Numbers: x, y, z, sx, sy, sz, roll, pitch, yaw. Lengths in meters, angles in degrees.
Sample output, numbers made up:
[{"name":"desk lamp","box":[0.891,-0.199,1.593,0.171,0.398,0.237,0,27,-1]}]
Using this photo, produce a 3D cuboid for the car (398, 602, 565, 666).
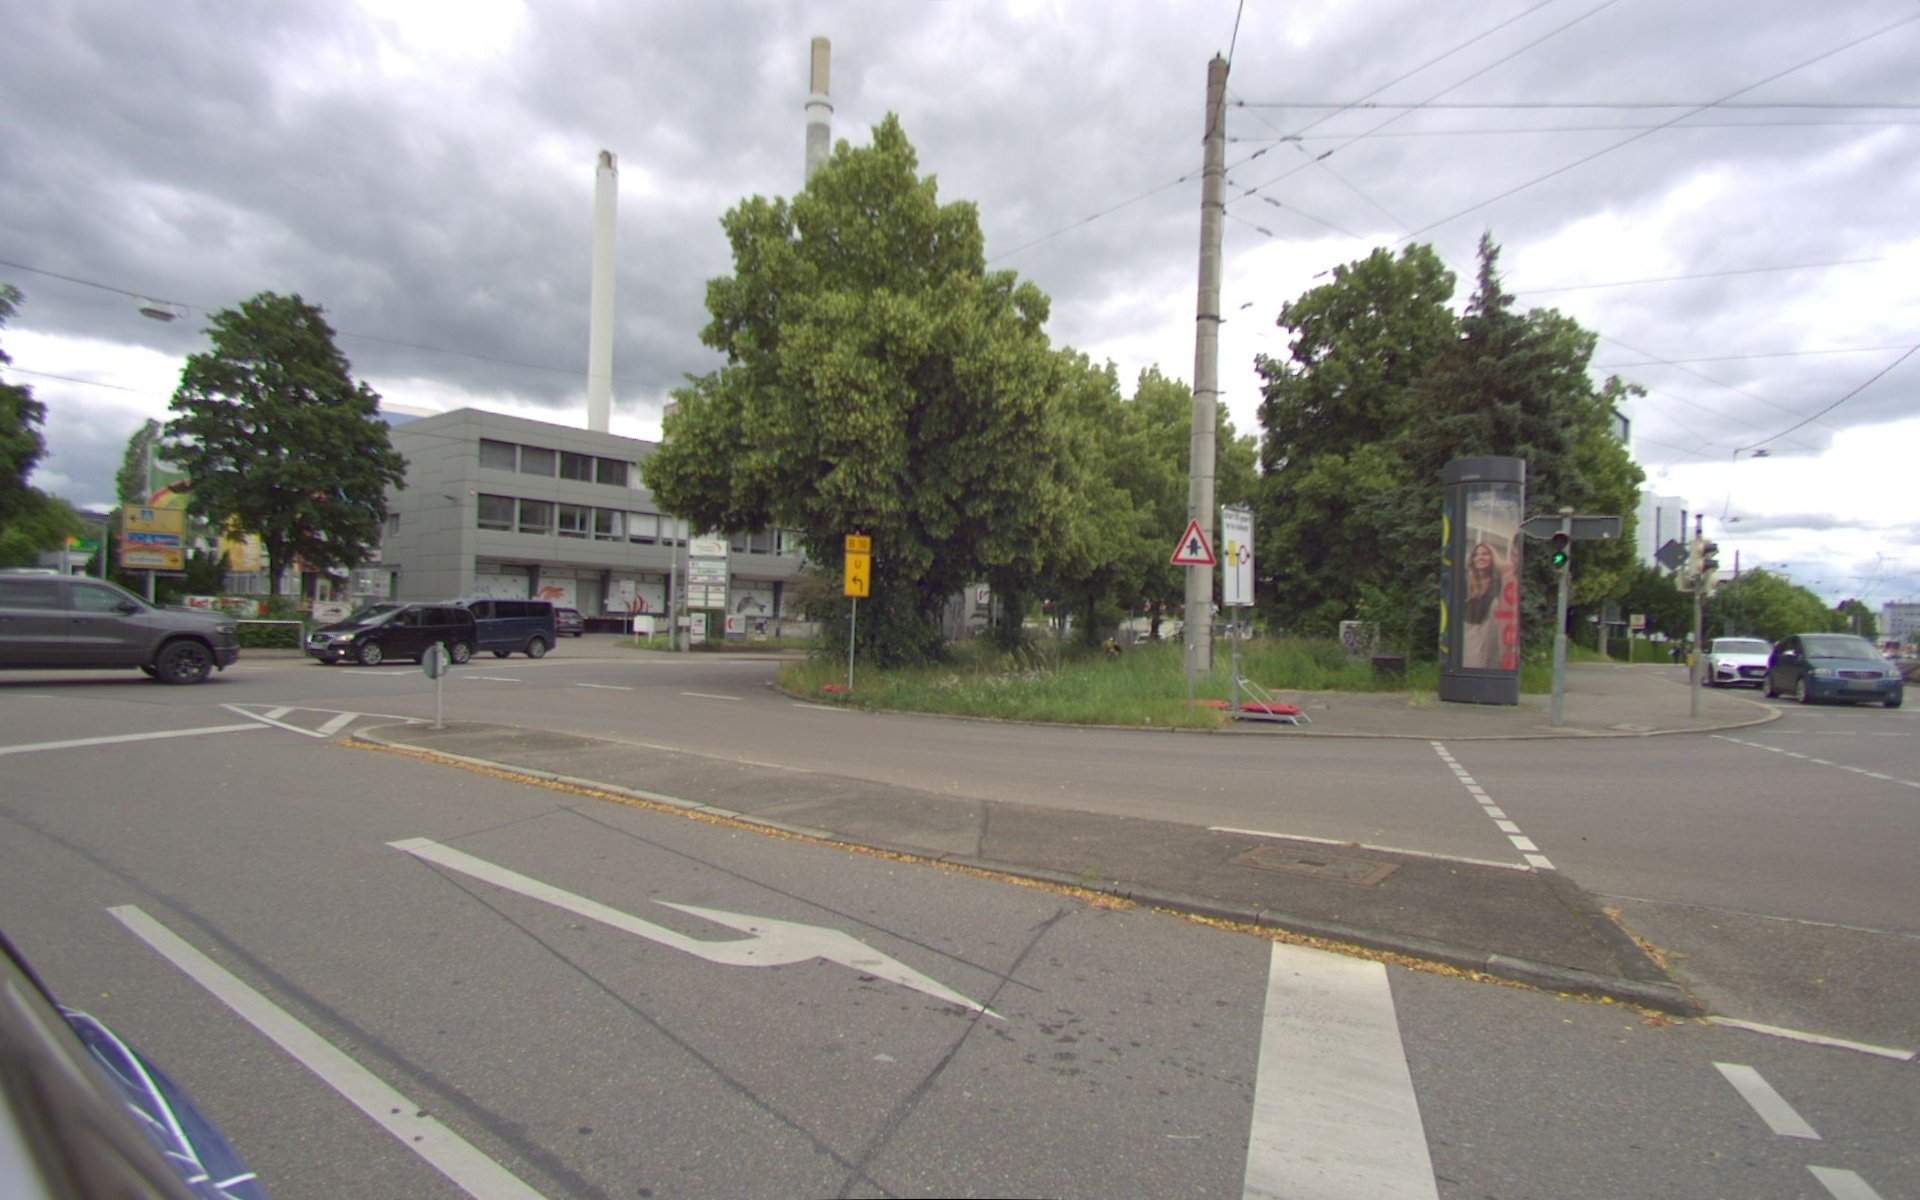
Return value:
[{"name":"car","box":[-15.667,1.111,33.419,1.826,1.960,4.752,0,-2,31]}]

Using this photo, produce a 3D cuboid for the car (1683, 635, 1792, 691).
[{"name":"car","box":[21.759,1.707,28.482,1.742,1.437,4.125,-1,-2,28]}]

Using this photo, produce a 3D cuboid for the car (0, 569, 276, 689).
[{"name":"car","box":[-15.943,0.498,18.108,1.951,1.994,5.787,2,-1,43]}]

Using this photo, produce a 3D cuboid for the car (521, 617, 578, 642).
[{"name":"car","box":[-23.805,1.682,58.644,3.574,1.187,1.752,2,3,44]}]

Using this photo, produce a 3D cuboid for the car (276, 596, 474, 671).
[{"name":"car","box":[-15.209,0.928,26.589,1.821,1.785,4.197,0,-4,23]}]

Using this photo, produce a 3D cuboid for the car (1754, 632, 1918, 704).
[{"name":"car","box":[18.846,1.407,21.963,1.740,1.402,3.670,0,-2,26]}]
